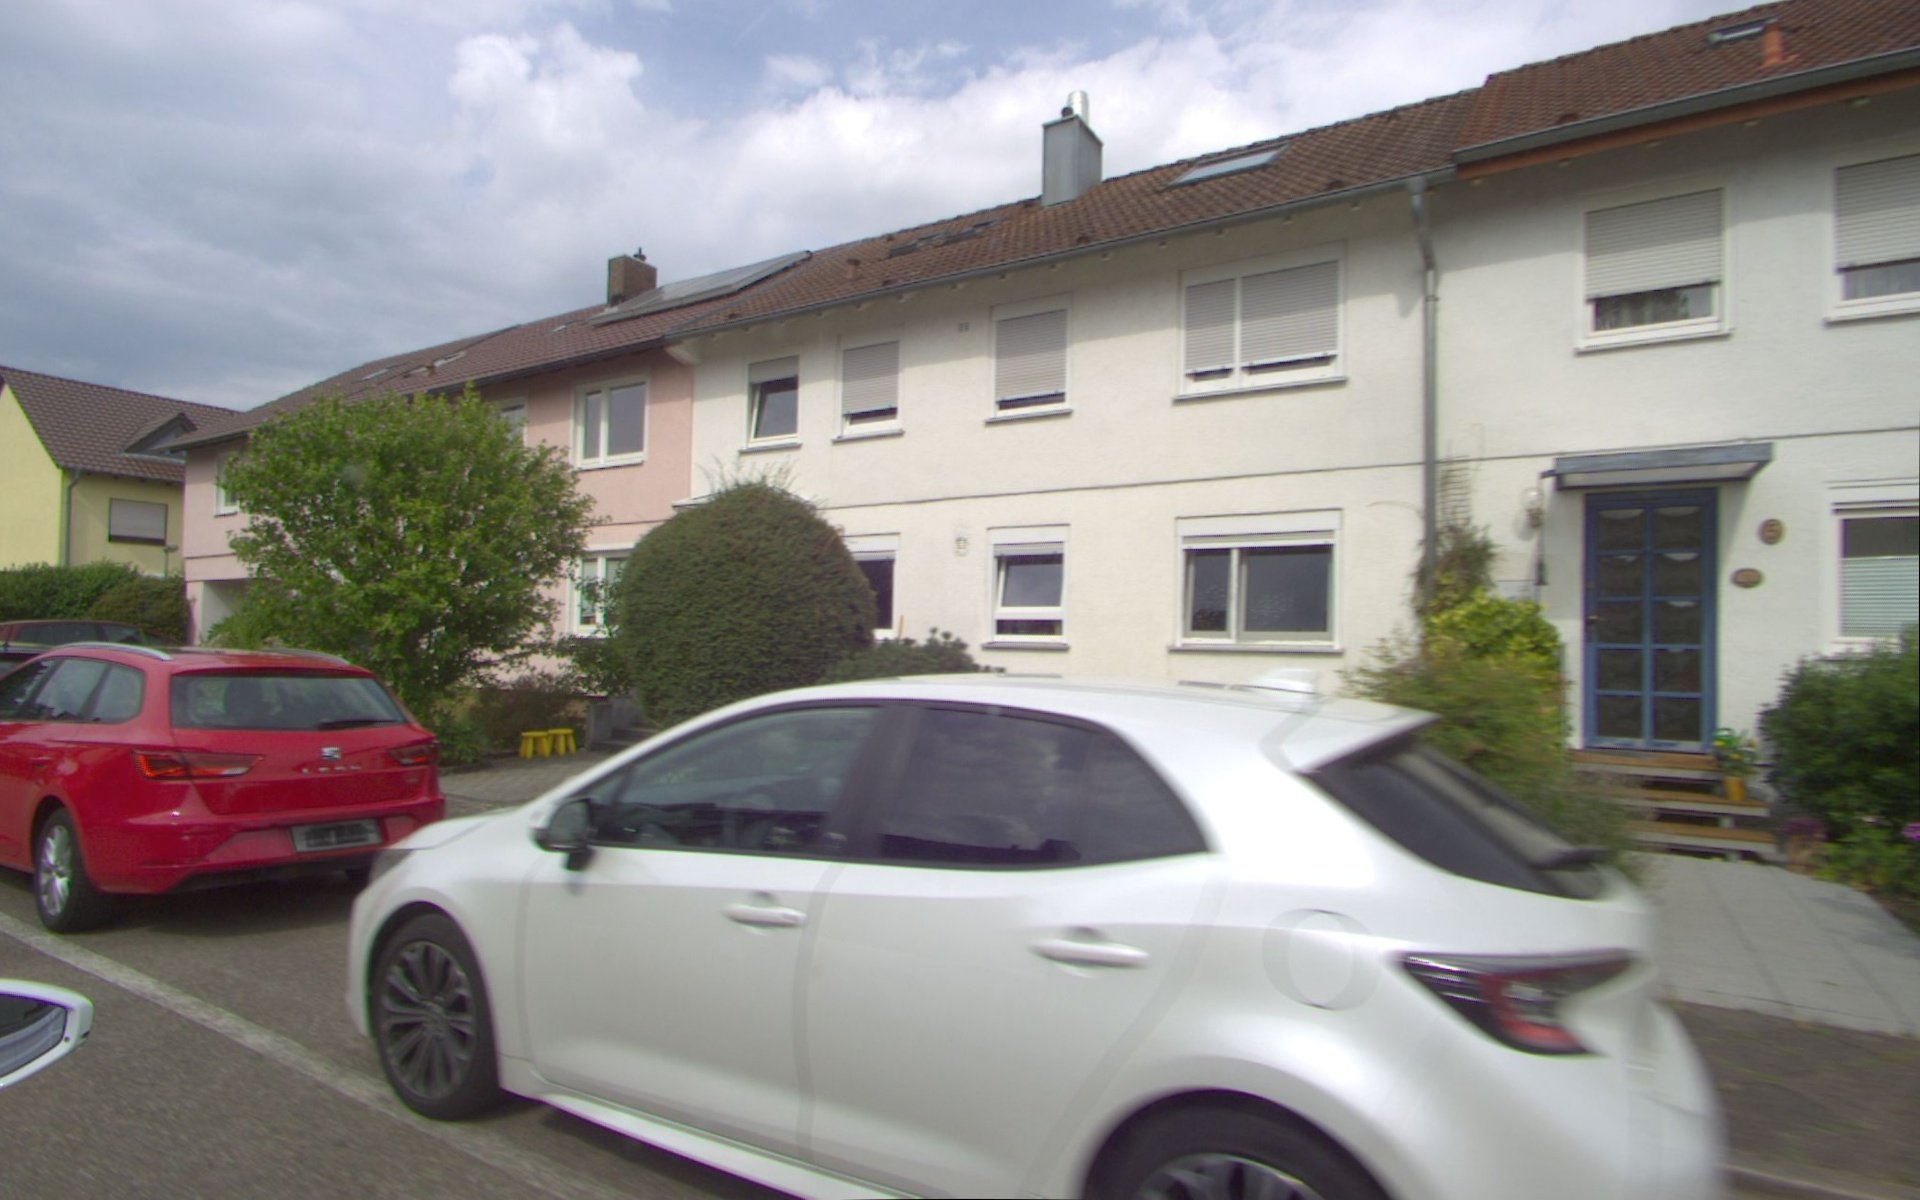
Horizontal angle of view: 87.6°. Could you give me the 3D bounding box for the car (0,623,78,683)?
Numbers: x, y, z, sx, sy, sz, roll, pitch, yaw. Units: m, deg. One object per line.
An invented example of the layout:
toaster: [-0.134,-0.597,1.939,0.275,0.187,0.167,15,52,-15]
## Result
car: [-24.502,1.267,24.136,1.997,1.451,4.446,0,-2,30]

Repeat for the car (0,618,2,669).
car: [-30.460,1.225,28.630,1.921,1.542,4.044,0,-2,29]

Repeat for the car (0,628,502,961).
car: [-5.234,0.960,6.487,4.757,1.453,1.772,-1,-5,33]

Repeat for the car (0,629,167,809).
car: [-9.188,0.969,9.151,4.205,1.373,1.770,0,-2,33]

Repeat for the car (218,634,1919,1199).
car: [-0.238,0.871,3.294,4.566,1.431,1.837,0,-2,30]

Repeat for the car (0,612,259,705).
car: [-16.174,1.062,19.039,1.907,1.580,4.263,0,-2,32]
